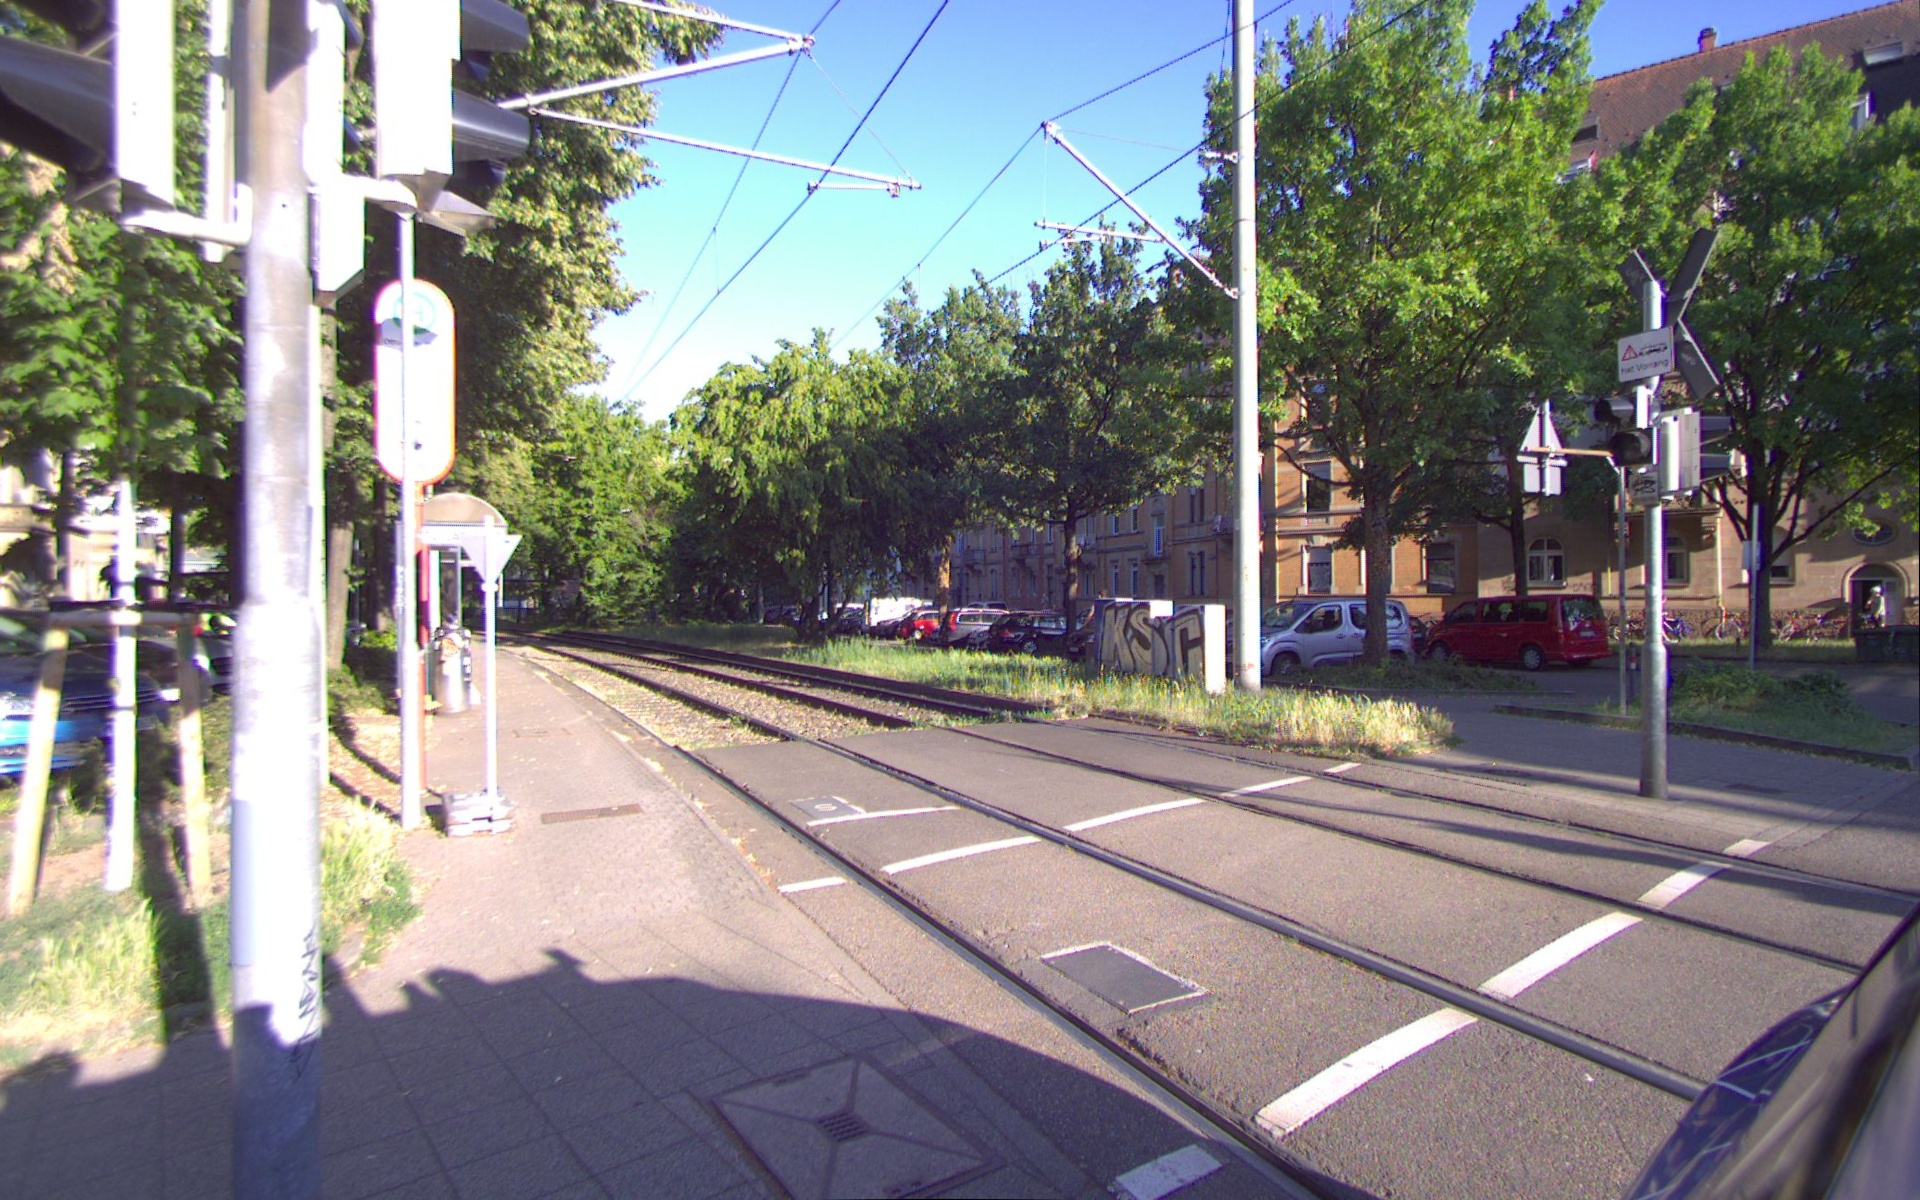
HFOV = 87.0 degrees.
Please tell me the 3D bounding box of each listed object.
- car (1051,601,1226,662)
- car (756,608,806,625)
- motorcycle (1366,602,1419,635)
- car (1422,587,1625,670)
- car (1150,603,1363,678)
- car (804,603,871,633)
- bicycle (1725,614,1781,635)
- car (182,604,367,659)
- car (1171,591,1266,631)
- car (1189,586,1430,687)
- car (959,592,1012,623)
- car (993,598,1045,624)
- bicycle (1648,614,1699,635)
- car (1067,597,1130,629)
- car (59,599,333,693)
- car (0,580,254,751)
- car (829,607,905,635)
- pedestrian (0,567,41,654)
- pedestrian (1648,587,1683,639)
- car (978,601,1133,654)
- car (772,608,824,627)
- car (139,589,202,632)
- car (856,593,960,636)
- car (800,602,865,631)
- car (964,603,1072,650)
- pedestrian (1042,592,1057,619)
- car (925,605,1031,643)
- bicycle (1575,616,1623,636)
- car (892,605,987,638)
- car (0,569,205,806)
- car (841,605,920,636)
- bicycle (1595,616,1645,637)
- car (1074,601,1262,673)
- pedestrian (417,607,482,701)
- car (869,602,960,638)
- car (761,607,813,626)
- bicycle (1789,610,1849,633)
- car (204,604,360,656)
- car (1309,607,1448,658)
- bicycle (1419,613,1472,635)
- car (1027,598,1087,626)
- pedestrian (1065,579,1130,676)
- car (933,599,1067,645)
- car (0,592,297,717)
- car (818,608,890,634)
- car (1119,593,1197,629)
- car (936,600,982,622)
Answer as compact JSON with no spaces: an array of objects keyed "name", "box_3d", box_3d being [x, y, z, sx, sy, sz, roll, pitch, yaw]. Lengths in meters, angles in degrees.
[{"name":"car","box_3d":[5.017,0.839,28.638,4.457,1.592,1.954,0,0,-16]},{"name":"car","box_3d":[-15.891,1.452,89.757,4.176,1.508,1.687,0,-1,-18]},{"name":"motorcycle","box_3d":[18.093,0.787,42.351,1.887,1.370,0.799,-2,-2,36]},{"name":"car","box_3d":[15.039,0.720,27.359,1.745,1.958,4.781,-2,0,-19]},{"name":"car","box_3d":[6.978,0.903,23.923,4.457,1.592,1.954,0,0,-16]},{"name":"car","box_3d":[-7.705,1.121,63.484,3.916,1.856,1.687,0,-1,-18]},{"name":"bicycle","box_3d":[27.722,0.848,35.402,1.501,0.741,0.364,-1,-1,36]},{"name":"car","box_3d":[-19.592,0.890,29.013,4.207,1.506,1.806,0,-1,6]},{"name":"car","box_3d":[10.485,0.437,41.366,1.745,1.494,4.279,-2,0,-17]},{"name":"car","box_3d":[7.267,0.694,21.159,4.457,1.938,1.954,0,0,-16]},{"name":"car","box_3d":[1.609,0.510,66.498,1.873,1.906,4.734,-2,0,-19]},{"name":"car","box_3d":[3.549,0.673,61.192,1.732,1.456,3.895,-2,0,-19]},{"name":"bicycle","box_3d":[25.776,0.870,36.573,1.501,0.741,0.364,-1,-1,36]},{"name":"car","box_3d":[7.017,0.631,51.458,1.654,1.494,3.716,-2,0,-18]},{"name":"car","box_3d":[-15.232,0.866,20.254,4.482,1.744,1.922,0,-1,12]},{"name":"car","box_3d":[-10.481,0.643,10.904,4.469,1.655,1.928,0,-1,3]},{"name":"car","box_3d":[-5.183,1.181,56.301,3.916,1.508,1.687,0,-1,-18]},{"name":"pedestrian","box_3d":[-32.694,0.364,35.236,0.902,2.985,0.700,0,-1,-31]},{"name":"pedestrian","box_3d":[24.097,0.447,34.564,0.906,1.740,0.666,-2,-2,36]},{"name":"car","box_3d":[3.088,0.865,32.951,4.616,1.592,2.004,0,0,-16]},{"name":"car","box_3d":[-12.932,1.399,80.675,3.916,1.508,1.687,0,-1,-18]},{"name":"car","box_3d":[-41.701,0.555,53.554,1.960,2.200,4.616,1,-1,-30]},{"name":"car","box_3d":[-2.584,0.703,50.028,4.758,2.064,2.159,0,-1,-18]},{"name":"car","box_3d":[-8.289,1.088,65.853,3.916,1.856,1.687,0,-1,-18]},{"name":"car","box_3d":[2.007,0.903,35.294,3.338,1.534,1.722,0,-1,-16]},{"name":"pedestrian","box_3d":[5.693,0.347,64.450,0.661,1.739,0.723,-2,0,-18]},{"name":"car","box_3d":[0.717,0.934,40.441,3.916,1.479,1.687,0,-1,-18]},{"name":"bicycle","box_3d":[23.939,0.970,37.930,1.501,0.741,0.364,-1,-1,36]},{"name":"car","box_3d":[-0.932,0.963,45.228,3.916,1.441,1.687,0,-1,-18]},{"name":"car","box_3d":[-8.945,0.696,8.218,4.335,1.709,1.742,-2,-1,0]},{"name":"car","box_3d":[-4.230,1.085,53.988,3.916,1.574,1.687,0,-1,-18]},{"name":"bicycle","box_3d":[24.263,0.963,37.217,1.501,0.741,0.364,-1,-1,36]},{"name":"car","box_3d":[5.351,0.908,26.167,4.356,1.712,1.954,0,0,-16]},{"name":"pedestrian","box_3d":[-7.312,0.743,14.516,0.808,1.289,0.878,0,-1,-27]},{"name":"car","box_3d":[-2.122,0.928,47.257,3.916,1.600,1.769,0,-1,-21]},{"name":"car","box_3d":[-14.592,1.413,85.339,4.046,1.541,1.687,0,-1,-18]},{"name":"bicycle","box_3d":[29.067,0.739,34.267,1.500,0.741,0.364,-3,-2,36]},{"name":"car","box_3d":[-22.924,0.994,34.286,4.207,1.717,1.806,0,-1,6]},{"name":"car","box_3d":[13.362,1.001,32.610,1.745,1.452,4.279,-2,0,-17]},{"name":"bicycle","box_3d":[19.815,0.979,41.294,1.887,0.859,0.519,-2,-2,36]},{"name":"car","box_3d":[5.355,0.658,56.452,1.732,1.401,4.298,-2,0,-18]},{"name":"pedestrian","box_3d":[2.837,0.568,20.963,0.886,1.943,1.152,2,-2,-18]},{"name":"car","box_3d":[1.496,0.790,37.988,4.616,1.592,2.004,0,0,-16]},{"name":"car","box_3d":[-11.572,0.671,13.338,4.469,1.506,1.928,0,-1,3]},{"name":"car","box_3d":[-6.161,1.220,58.744,3.916,1.508,1.687,0,-1,-18]},{"name":"car","box_3d":[8.952,0.480,46.006,1.654,1.494,3.889,-2,0,-21]},{"name":"car","box_3d":[-0.119,0.774,71.984,1.843,1.459,4.401,-2,0,-19]}]
